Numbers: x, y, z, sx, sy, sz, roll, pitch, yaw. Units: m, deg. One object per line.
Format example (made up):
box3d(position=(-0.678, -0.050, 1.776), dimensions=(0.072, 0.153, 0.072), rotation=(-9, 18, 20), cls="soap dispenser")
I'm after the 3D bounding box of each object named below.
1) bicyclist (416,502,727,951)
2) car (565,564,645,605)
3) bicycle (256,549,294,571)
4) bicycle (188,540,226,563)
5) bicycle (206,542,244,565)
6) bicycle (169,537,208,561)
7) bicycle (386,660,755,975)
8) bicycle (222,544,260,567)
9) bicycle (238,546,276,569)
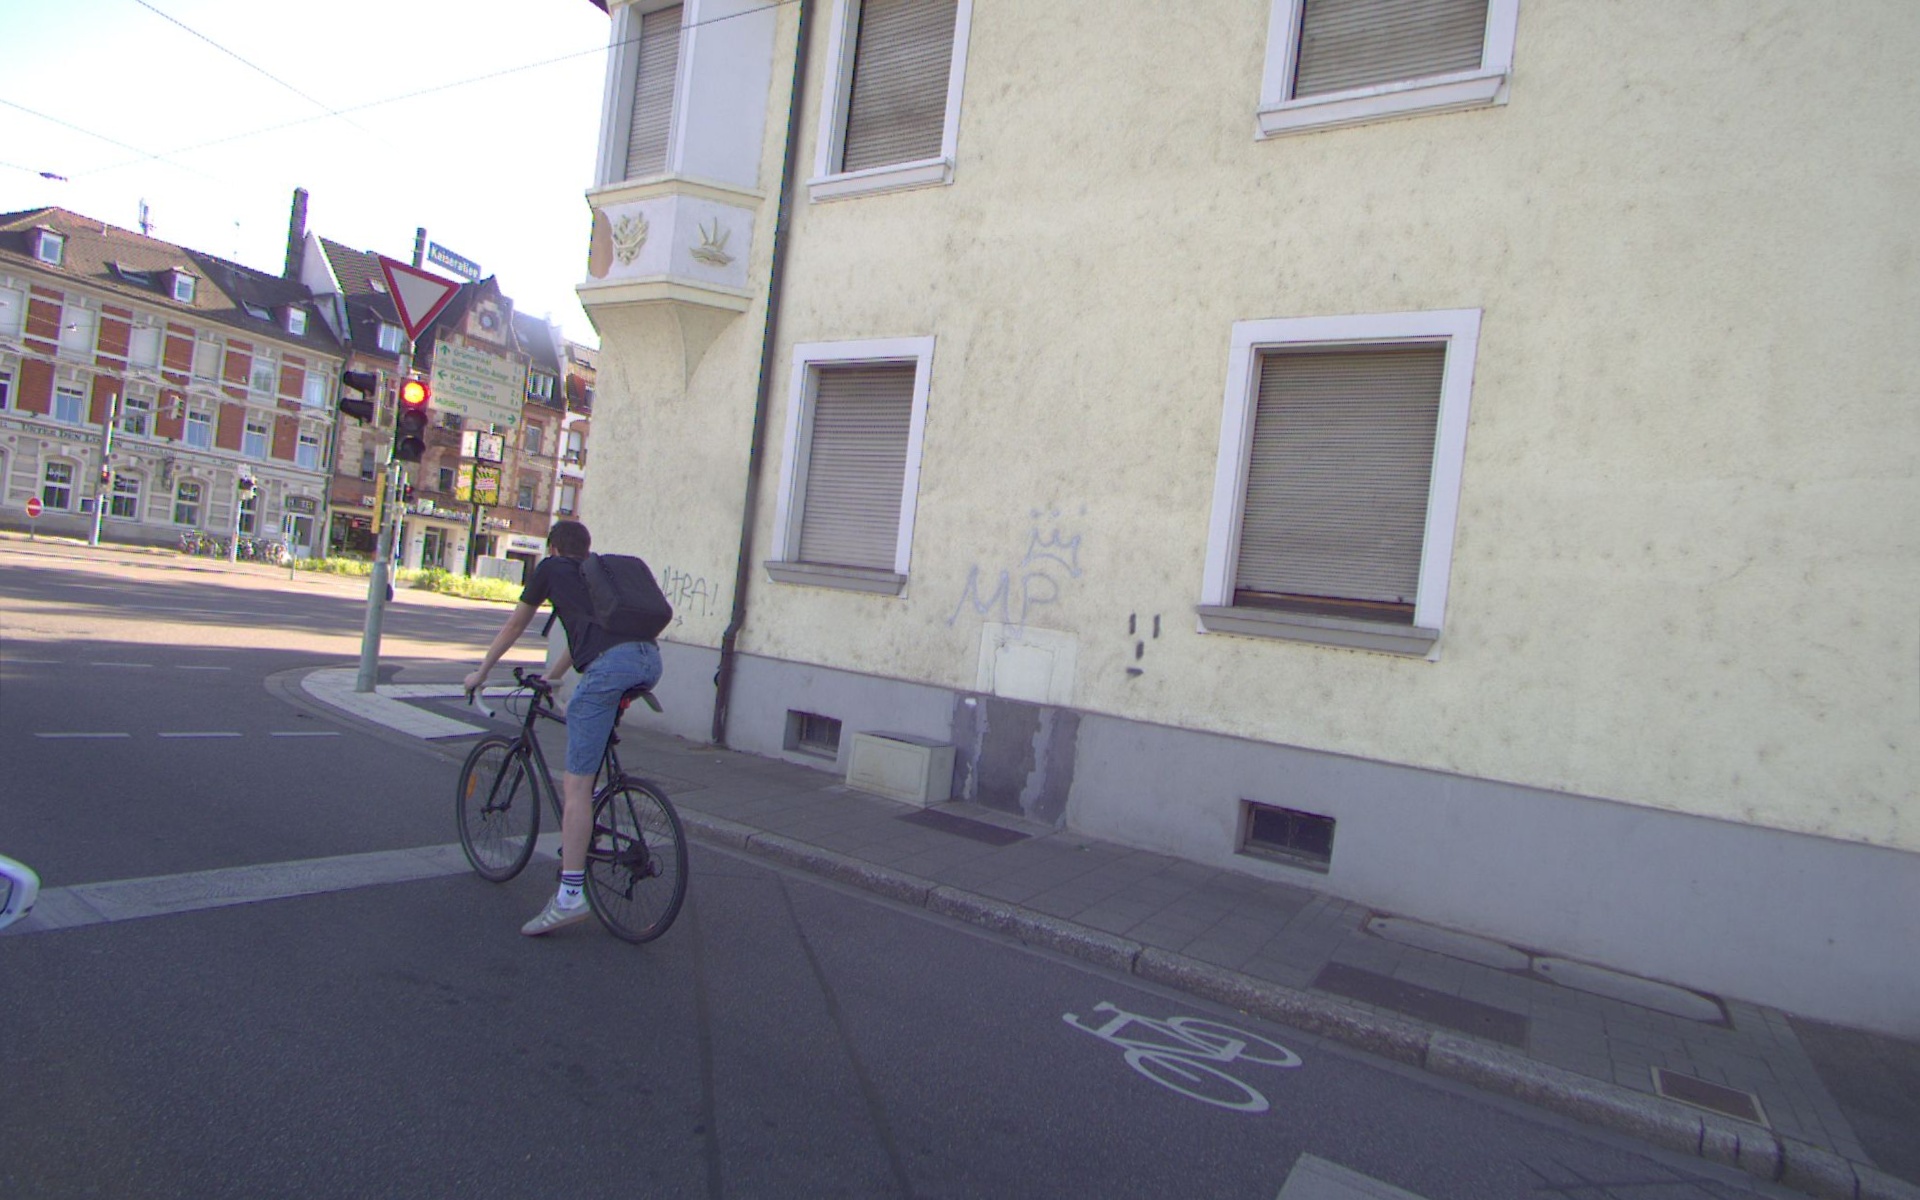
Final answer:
box3d(position=(-1.740, 0.494, 4.485), dimensions=(1.098, 1.722, 0.573), rotation=(7, 0, 32), cls="bicyclist")
box3d(position=(-23.008, -1.000, 65.323), dimensions=(1.968, 2.038, 4.430), rotation=(7, -1, 34), cls="car")
box3d(position=(-33.099, -1.943, 48.596), dimensions=(2.125, 0.850, 0.659), rotation=(6, -2, 33), cls="bicycle")
box3d(position=(-34.550, -2.232, 46.144), dimensions=(2.125, 0.850, 0.659), rotation=(6, -2, 33), cls="bicycle")
box3d(position=(-34.177, -2.158, 46.765), dimensions=(2.125, 0.850, 0.659), rotation=(6, -2, 33), cls="bicycle")
box3d(position=(-34.866, -2.300, 45.477), dimensions=(2.125, 0.850, 0.659), rotation=(6, -2, 33), cls="bicycle")
box3d(position=(-1.788, 0.878, 4.506), dimensions=(1.721, 0.982, 0.519), rotation=(7, 0, 32), cls="bicycle")
box3d(position=(-33.842, -2.090, 47.361), dimensions=(2.125, 0.850, 0.659), rotation=(6, -2, 33), cls="bicycle")
box3d(position=(-33.487, -2.022, 47.892), dimensions=(2.125, 0.850, 0.659), rotation=(6, -2, 33), cls="bicycle")
